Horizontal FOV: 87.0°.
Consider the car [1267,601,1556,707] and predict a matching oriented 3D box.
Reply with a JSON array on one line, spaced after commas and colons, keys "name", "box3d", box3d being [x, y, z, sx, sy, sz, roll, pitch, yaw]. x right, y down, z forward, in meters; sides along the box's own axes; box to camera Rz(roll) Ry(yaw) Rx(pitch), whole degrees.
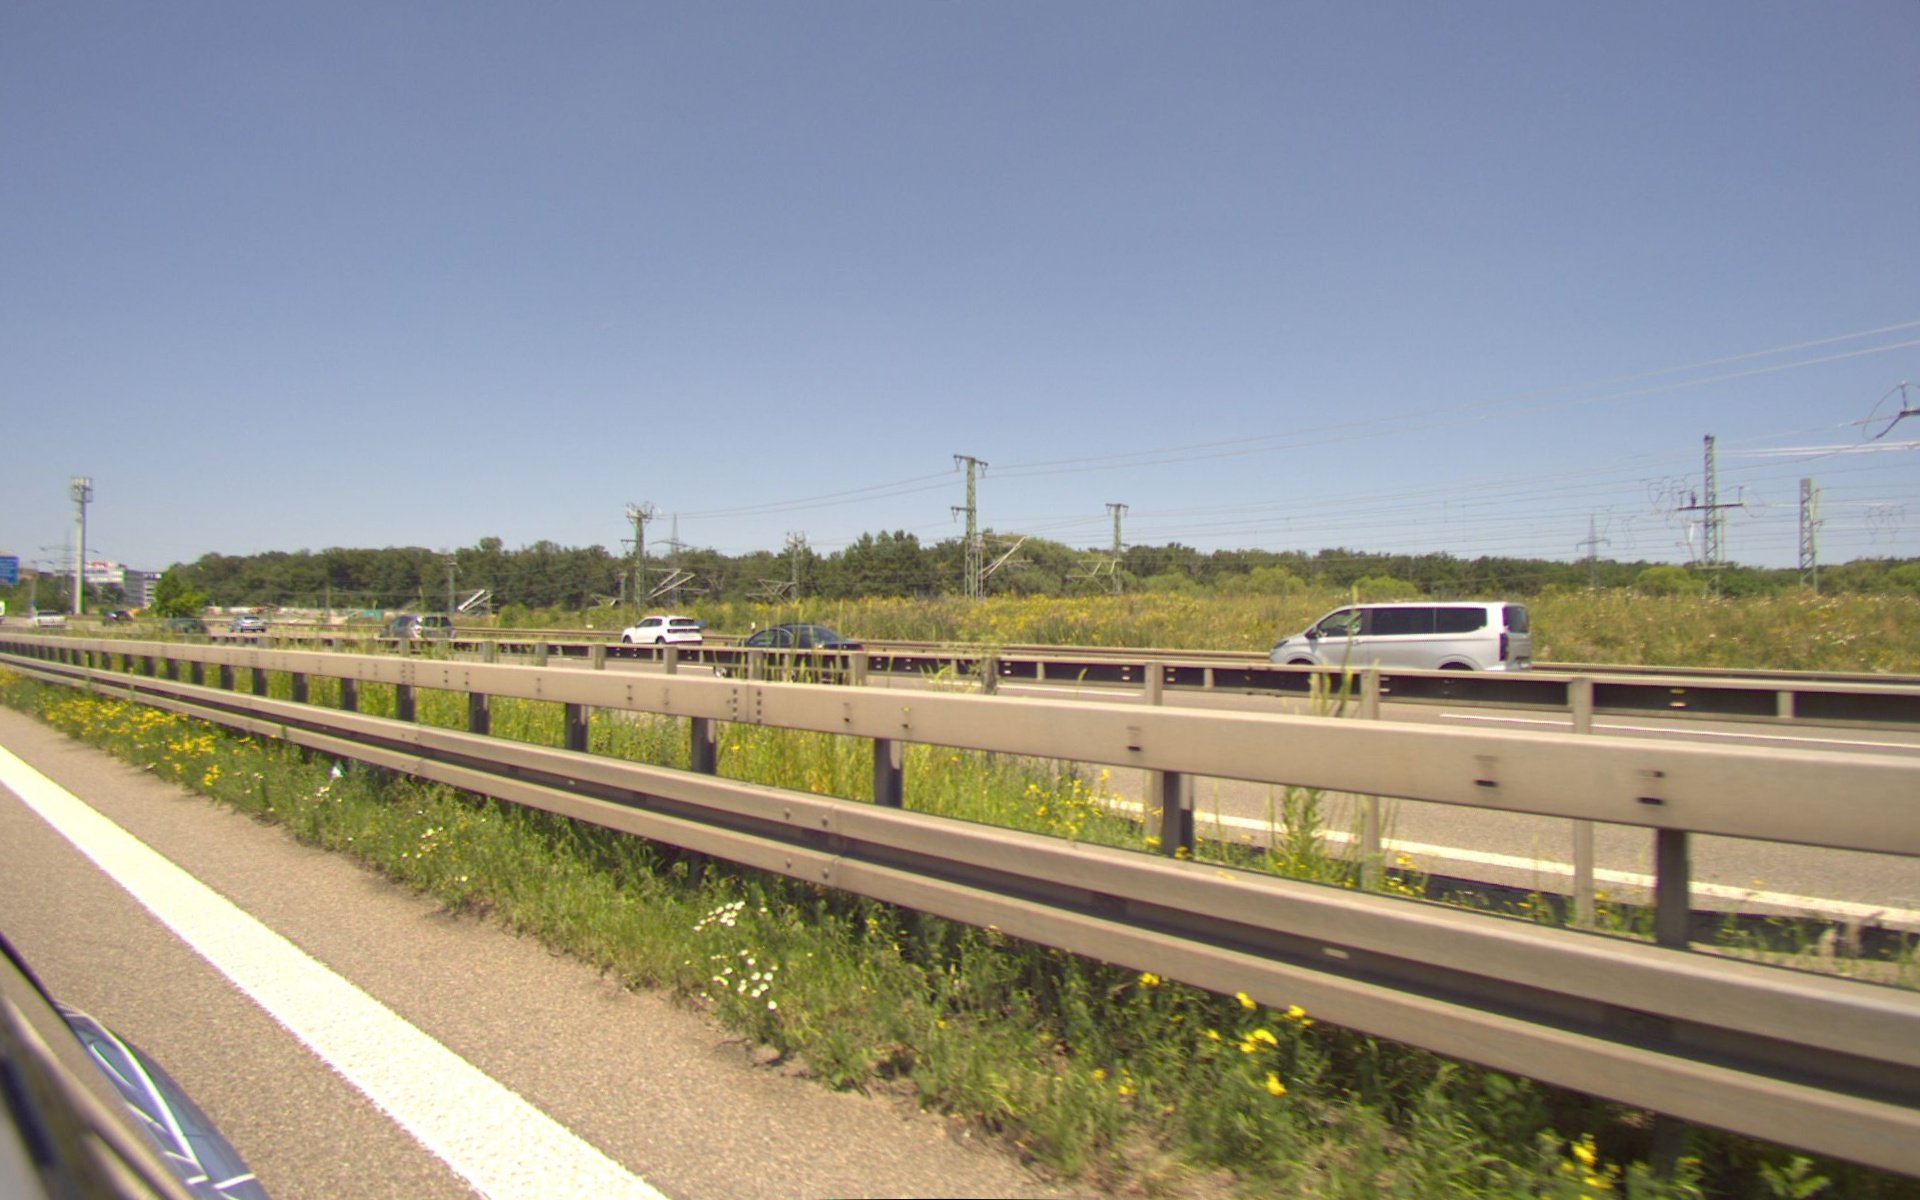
[{"name": "car", "box3d": [9.051, 1.020, 20.610, 4.978, 1.900, 1.971, -2, -1, 43]}]

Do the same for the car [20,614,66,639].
[{"name": "car", "box3d": [-72.081, 2.045, 79.504, 5.595, 1.844, 1.973, -1, -1, 40]}]

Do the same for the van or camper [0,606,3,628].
[{"name": "van or camper", "box3d": [-116.168, 2.044, 120.554, 7.599, 2.677, 2.313, -1, -1, 40]}]

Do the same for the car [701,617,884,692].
[{"name": "car", "box3d": [-4.038, 1.212, 23.924, 4.477, 1.588, 1.971, -1, -1, 43]}]

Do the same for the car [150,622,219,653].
[{"name": "car", "box3d": [-39.900, 1.885, 52.032, 4.473, 1.495, 1.909, -1, -1, 40]}]

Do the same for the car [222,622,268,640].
[{"name": "car", "box3d": [-56.531, 2.415, 80.000, 4.160, 1.321, 1.973, -1, -1, 40]}]

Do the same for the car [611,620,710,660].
[{"name": "car", "box3d": [-12.580, 1.639, 42.392, 4.475, 1.588, 1.972, -1, -1, 42]}]

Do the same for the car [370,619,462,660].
[{"name": "car", "box3d": [-22.627, 1.591, 42.025, 4.475, 1.588, 1.972, -1, -1, 42]}]

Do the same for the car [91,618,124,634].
[{"name": "car", "box3d": [-89.224, 2.686, 105.879, 4.932, 1.609, 1.972, -1, -1, 42]}]
